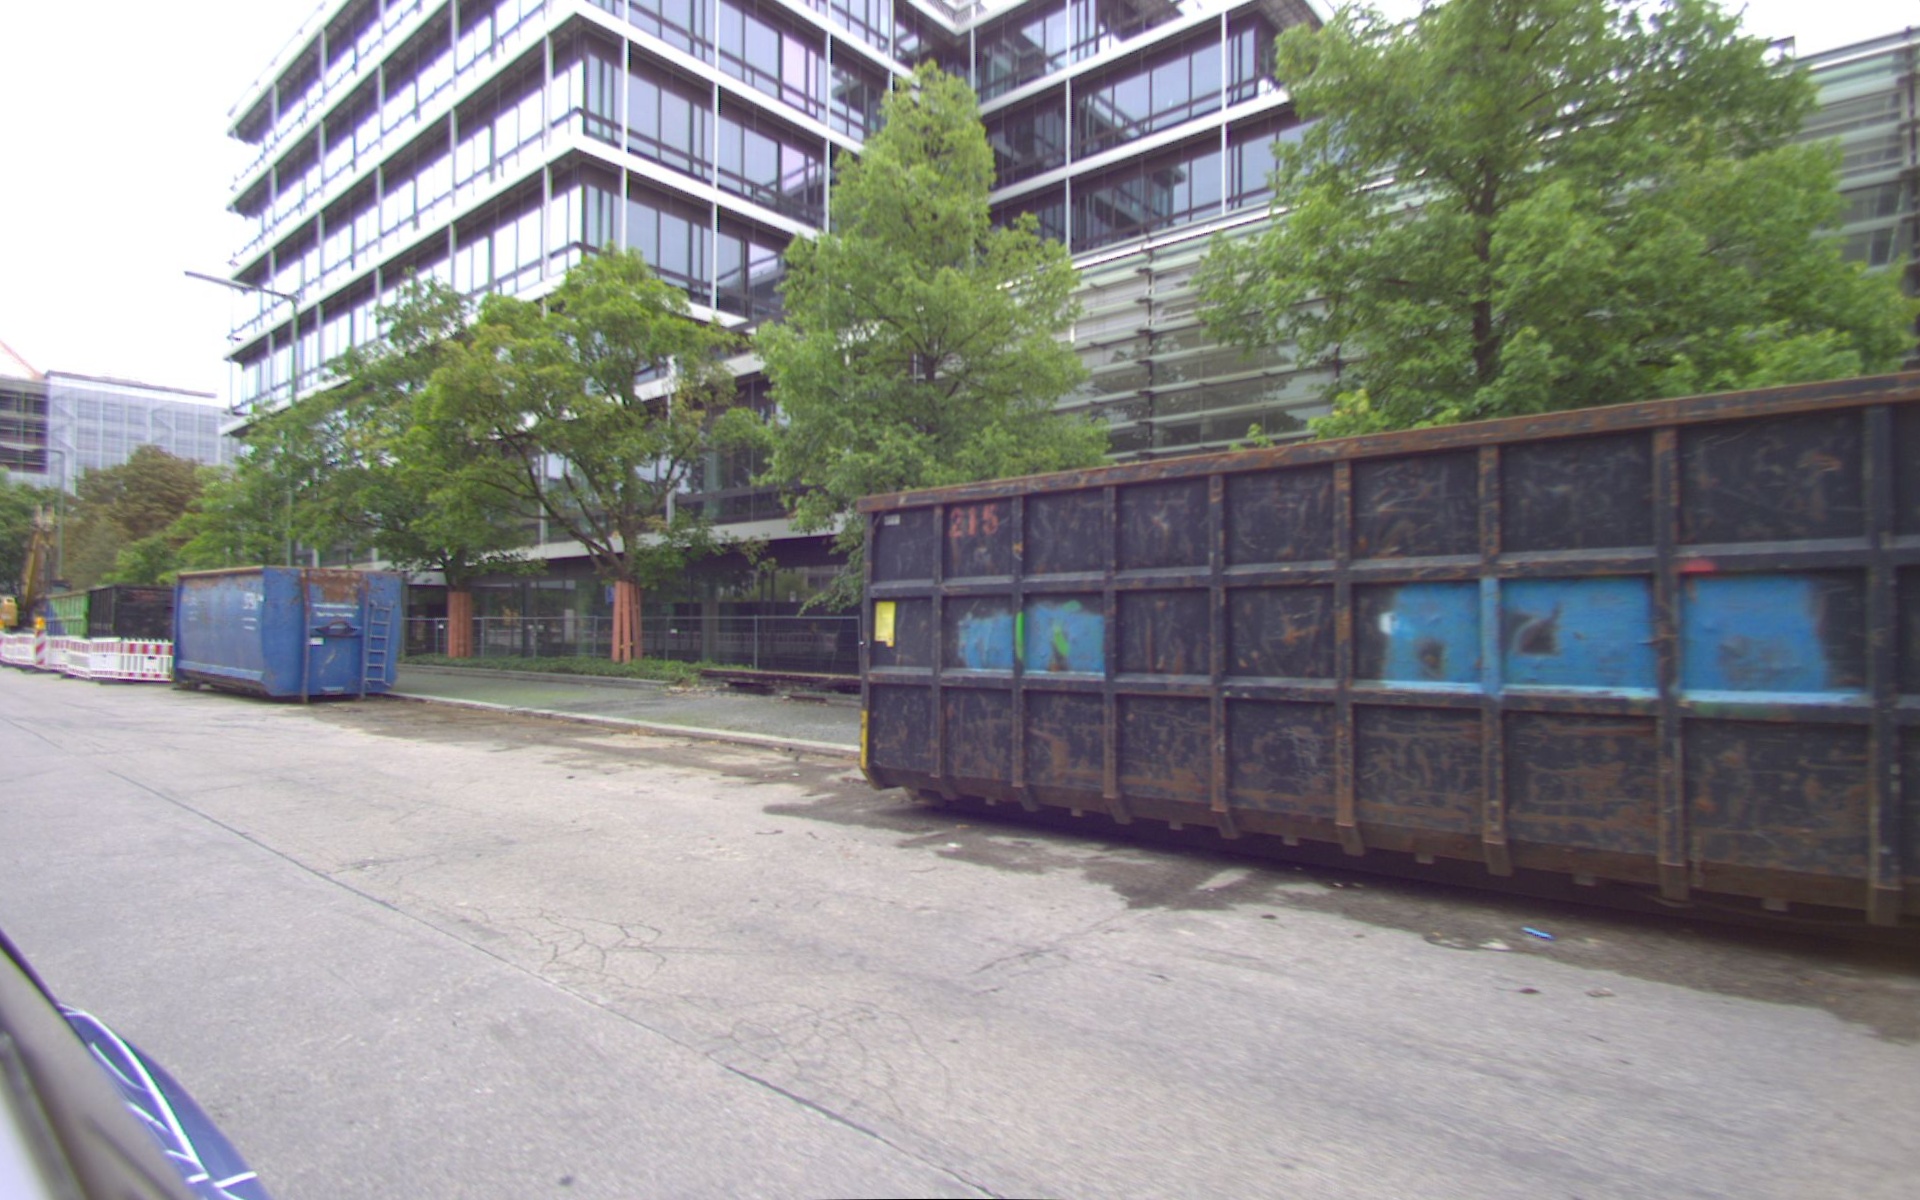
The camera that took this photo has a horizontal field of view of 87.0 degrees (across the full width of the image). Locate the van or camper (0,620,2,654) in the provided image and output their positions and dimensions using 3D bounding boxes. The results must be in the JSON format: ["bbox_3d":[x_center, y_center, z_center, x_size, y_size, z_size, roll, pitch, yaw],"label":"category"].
[{"bbox_3d":[-61.737,2.307,63.620,5.589,2.050,1.966,-2,-4,45],"label":"van or camper"}]

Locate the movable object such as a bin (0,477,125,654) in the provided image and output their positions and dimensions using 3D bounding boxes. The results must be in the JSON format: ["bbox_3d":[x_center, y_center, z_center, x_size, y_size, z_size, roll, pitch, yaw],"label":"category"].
[{"bbox_3d":[-38.482,-1.182,42.719,11.776,6.614,2.874,-1,-2,41],"label":"movable object such as a bin"}]
